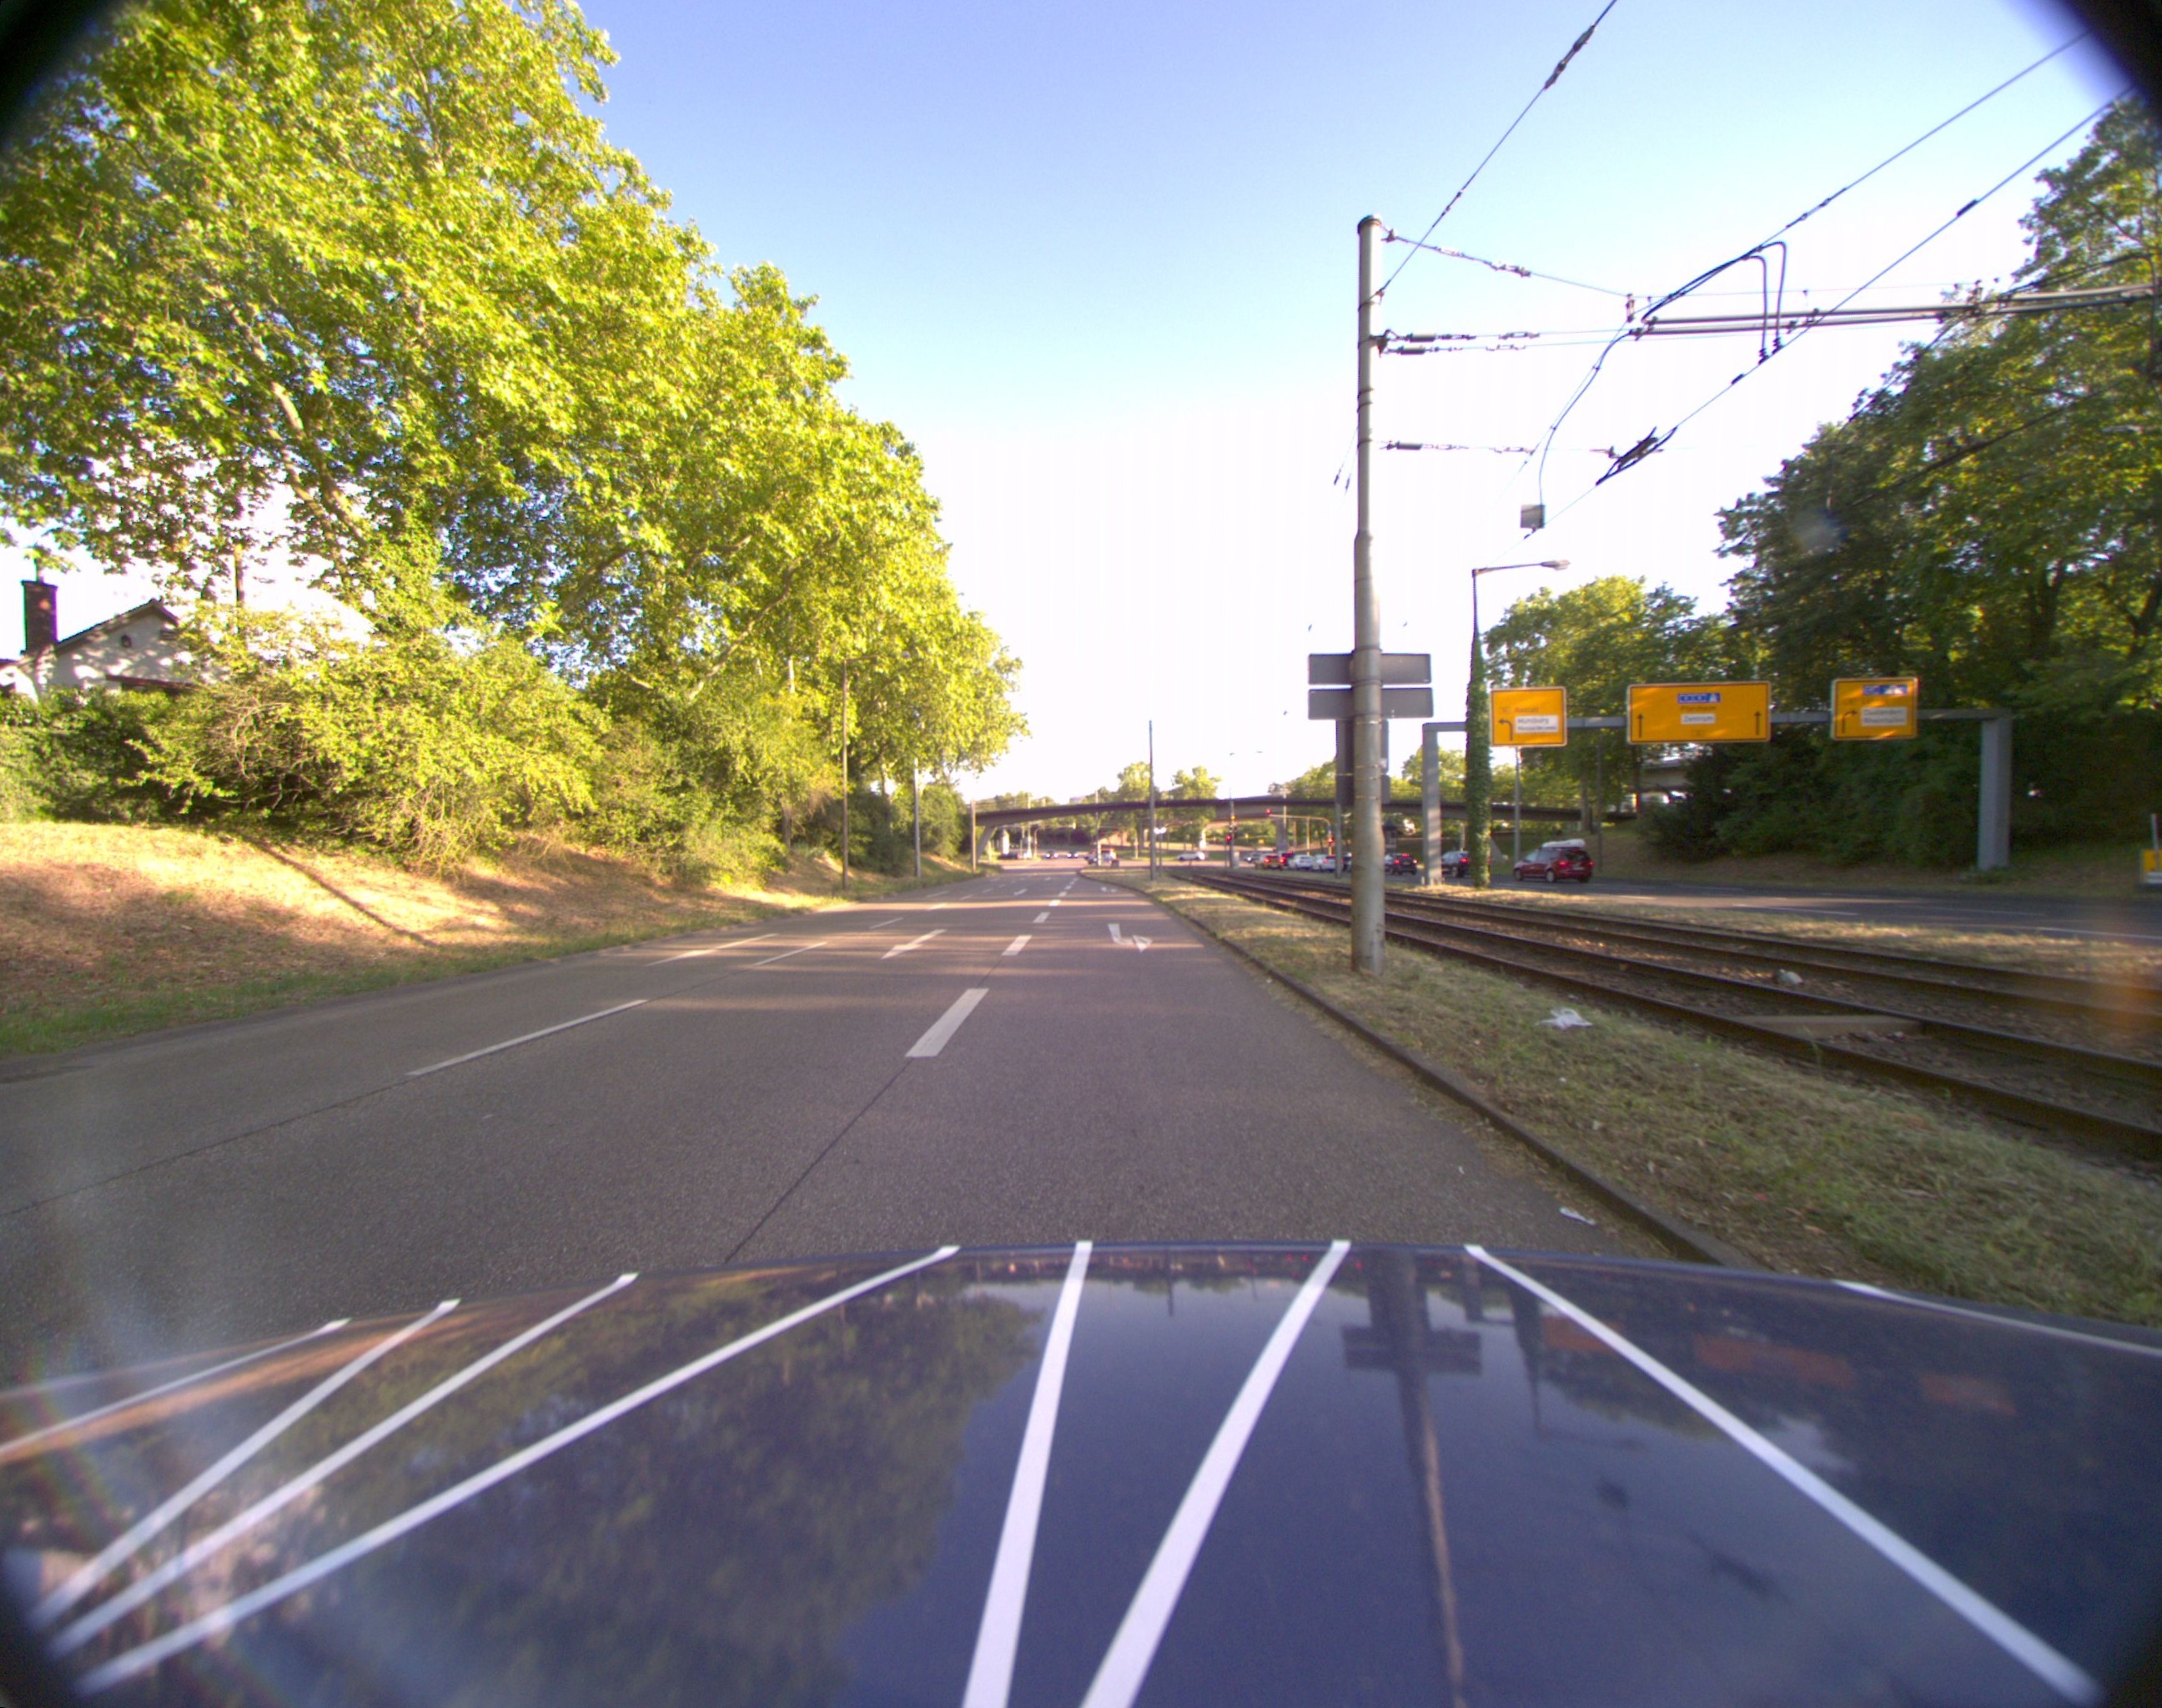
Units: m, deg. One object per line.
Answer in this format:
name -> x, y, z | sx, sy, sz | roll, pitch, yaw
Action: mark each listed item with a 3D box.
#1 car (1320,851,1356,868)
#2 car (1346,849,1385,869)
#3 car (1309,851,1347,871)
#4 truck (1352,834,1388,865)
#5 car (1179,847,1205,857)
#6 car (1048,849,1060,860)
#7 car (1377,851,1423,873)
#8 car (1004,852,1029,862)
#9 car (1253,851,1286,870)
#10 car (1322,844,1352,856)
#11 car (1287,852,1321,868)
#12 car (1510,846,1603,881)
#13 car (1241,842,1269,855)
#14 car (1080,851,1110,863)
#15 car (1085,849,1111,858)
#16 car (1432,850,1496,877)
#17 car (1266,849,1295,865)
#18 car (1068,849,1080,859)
car -> 23.734, 0.482, 70.205 | 1.868, 1.416, 4.226 | -1, 0, 0
car -> 23.963, 0.407, 64.051 | 1.813, 1.535, 4.000 | -1, 0, 1
car -> 20.023, 0.533, 61.801 | 1.767, 1.535, 4.000 | -1, 0, 0
truck -> 28.378, -0.448, 74.795 | 2.281, 2.862, 6.886 | -1, 0, 13
car -> 17.563, -0.283, 119.819 | 3.785, 1.491, 1.766 | -2, 1, 18
car -> -4.908, 0.071, 139.197 | 1.960, 1.779, 3.998 | -2, 0, -5
car -> 23.274, 0.574, 55.597 | 1.755, 1.548, 3.973 | 0, 0, 1
car -> -11.135, 0.531, 131.416 | 3.868, 1.655, 1.814 | -2, 1, 21
car -> 16.143, 0.499, 65.231 | 1.767, 1.535, 4.000 | -1, 0, 0
car -> 36.720, -0.616, 108.953 | 3.804, 1.570, 1.679 | -2, 1, 24
car -> 19.911, 0.521, 68.079 | 1.918, 1.416, 4.227 | -1, 0, 2
car -> 23.126, 0.436, 37.194 | 1.842, 1.625, 4.311 | 0, 0, 0
car -> 25.789, -0.791, 112.326 | 3.805, 1.717, 1.679 | -2, 1, 20
car -> 1.912, 0.407, 100.964 | 3.800, 1.490, 1.759 | -3, 1, -44
car -> 2.798, -0.062, 125.574 | 3.868, 1.403, 1.814 | -2, 1, 20
car -> 23.077, 0.533, 45.957 | 1.735, 1.536, 4.334 | -1, 0, 1
car -> 19.577, 0.255, 74.737 | 1.917, 1.540, 4.227 | -1, 0, 4
car -> -1.265, 0.016, 141.874 | 1.905, 1.726, 3.998 | -2, 0, -5
